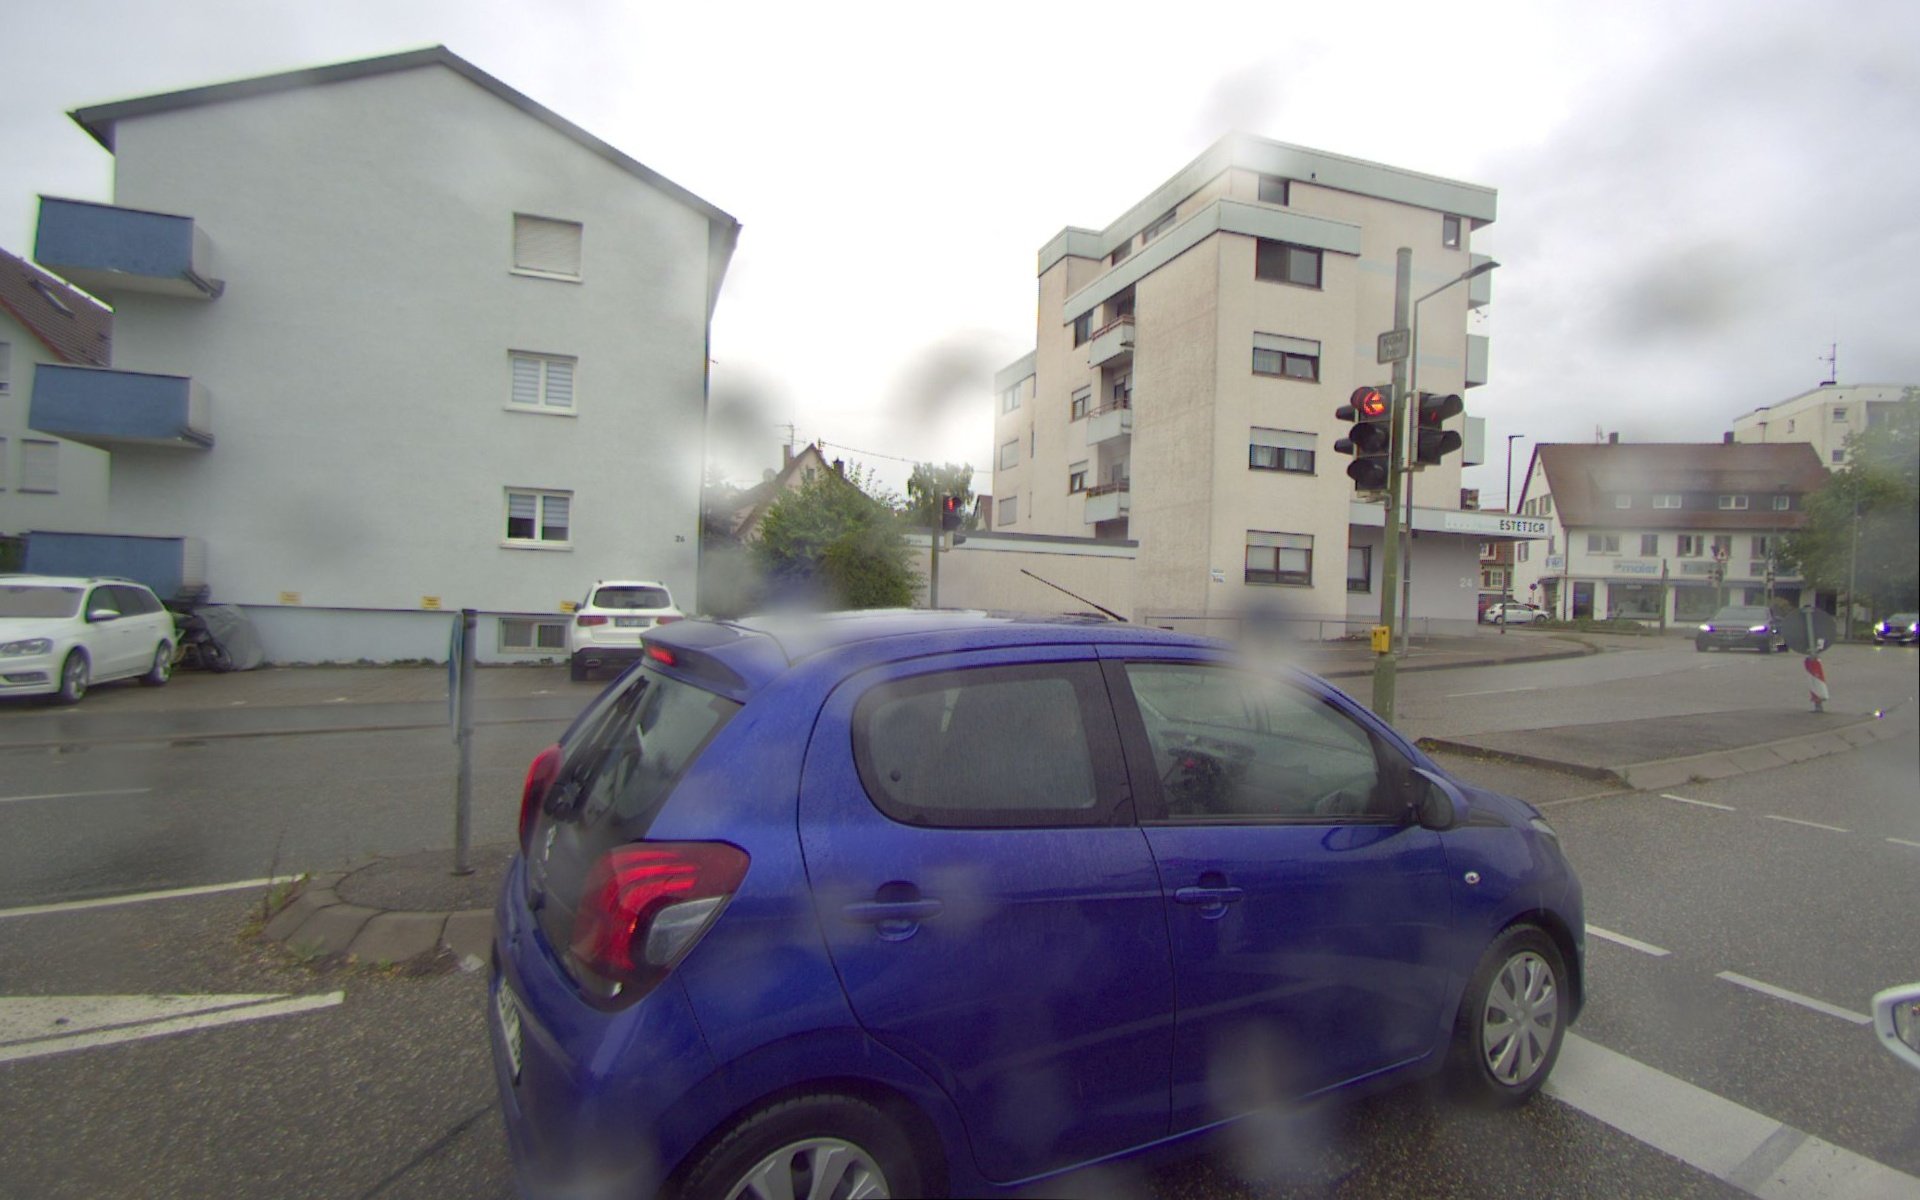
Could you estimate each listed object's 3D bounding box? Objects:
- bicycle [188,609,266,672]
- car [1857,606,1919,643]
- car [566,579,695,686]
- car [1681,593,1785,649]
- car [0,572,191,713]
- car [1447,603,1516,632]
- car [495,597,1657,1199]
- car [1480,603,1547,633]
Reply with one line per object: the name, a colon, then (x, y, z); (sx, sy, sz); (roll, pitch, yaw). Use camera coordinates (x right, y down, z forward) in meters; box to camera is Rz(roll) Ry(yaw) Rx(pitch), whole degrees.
bicycle: (-12.699, 0.688, 17.415); (1.053, 1.067, 0.345); (0, 1, -30)
car: (41.926, 1.119, 44.691); (3.956, 1.532, 1.956); (2, 0, -32)
car: (-5.768, 0.509, 17.570); (1.884, 1.637, 3.982); (2, 0, -19)
car: (24.942, 0.672, 32.590); (1.964, 1.646, 4.531); (2, 0, 29)
car: (-11.486, 0.455, 12.500); (1.854, 1.480, 4.732); (1, -1, -23)
car: (37.211, 1.238, 71.718); (3.987, 1.868, 1.889); (2, 0, 14)
car: (0.463, 0.742, 3.094); (3.324, 1.432, 1.498); (1, 1, -30)
car: (37.919, 1.233, 68.887); (3.611, 1.946, 1.889); (2, 0, 14)
